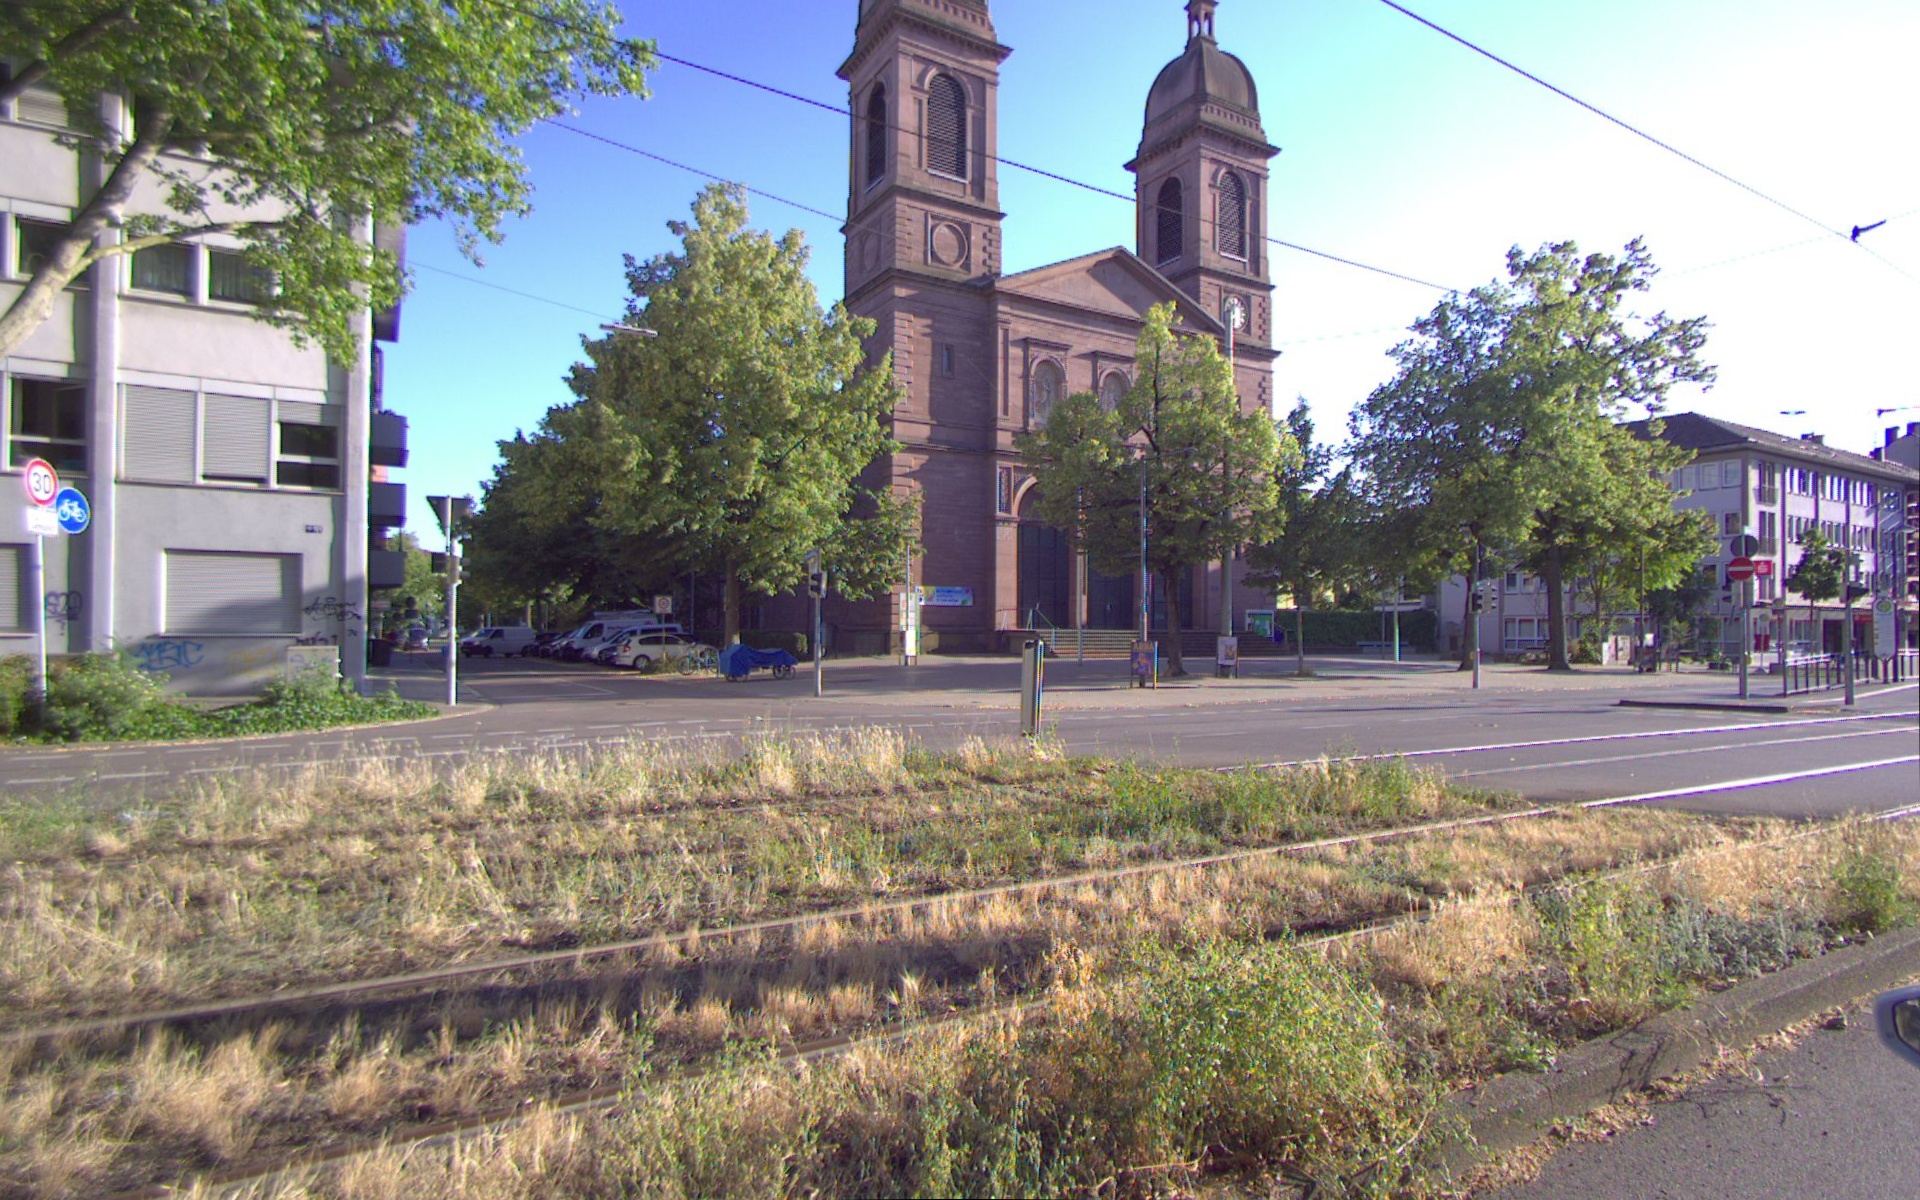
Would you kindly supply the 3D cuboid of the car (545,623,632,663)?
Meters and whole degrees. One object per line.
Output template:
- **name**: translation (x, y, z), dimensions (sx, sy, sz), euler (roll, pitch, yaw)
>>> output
- **car**: translation (-20.430, 2.361, 55.261), dimensions (4.174, 2.040, 1.981), euler (2, 0, -34)

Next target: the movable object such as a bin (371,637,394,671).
- **movable object such as a bin**: translation (-22.309, 2.077, 38.800), dimensions (0.737, 1.323, 0.865), euler (1, -2, -32)

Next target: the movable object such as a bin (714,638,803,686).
- **movable object such as a bin**: translation (-6.159, 1.864, 30.706), dimensions (2.416, 1.228, 1.102), euler (-3, 2, -30)

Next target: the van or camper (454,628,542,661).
- **van or camper**: translation (-29.992, 2.839, 65.375), dimensions (1.962, 2.040, 5.132), euler (0, -2, 24)

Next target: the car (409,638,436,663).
- **car**: translation (-45.775, 4.292, 85.463), dimensions (1.976, 2.040, 3.970), euler (1, -2, -29)

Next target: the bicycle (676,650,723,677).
- **bicycle**: translation (-9.067, 2.199, 34.956), dimensions (1.517, 0.904, 0.465), euler (2, 0, -27)

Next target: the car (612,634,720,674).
- **car**: translation (-12.232, 2.221, 41.816), dimensions (3.953, 1.479, 1.984), euler (2, 0, -30)

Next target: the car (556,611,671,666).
- **car**: translation (-18.301, 2.015, 53.103), dimensions (5.382, 2.710, 1.980), euler (2, 0, -36)

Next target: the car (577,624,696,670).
- **car**: translation (-15.528, 2.226, 48.310), dimensions (5.121, 2.040, 1.981), euler (2, 0, -34)

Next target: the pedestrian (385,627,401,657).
- **pedestrian**: translation (-34.936, 2.582, 61.896), dimensions (0.684, 1.774, 0.635), euler (2, -2, -43)
